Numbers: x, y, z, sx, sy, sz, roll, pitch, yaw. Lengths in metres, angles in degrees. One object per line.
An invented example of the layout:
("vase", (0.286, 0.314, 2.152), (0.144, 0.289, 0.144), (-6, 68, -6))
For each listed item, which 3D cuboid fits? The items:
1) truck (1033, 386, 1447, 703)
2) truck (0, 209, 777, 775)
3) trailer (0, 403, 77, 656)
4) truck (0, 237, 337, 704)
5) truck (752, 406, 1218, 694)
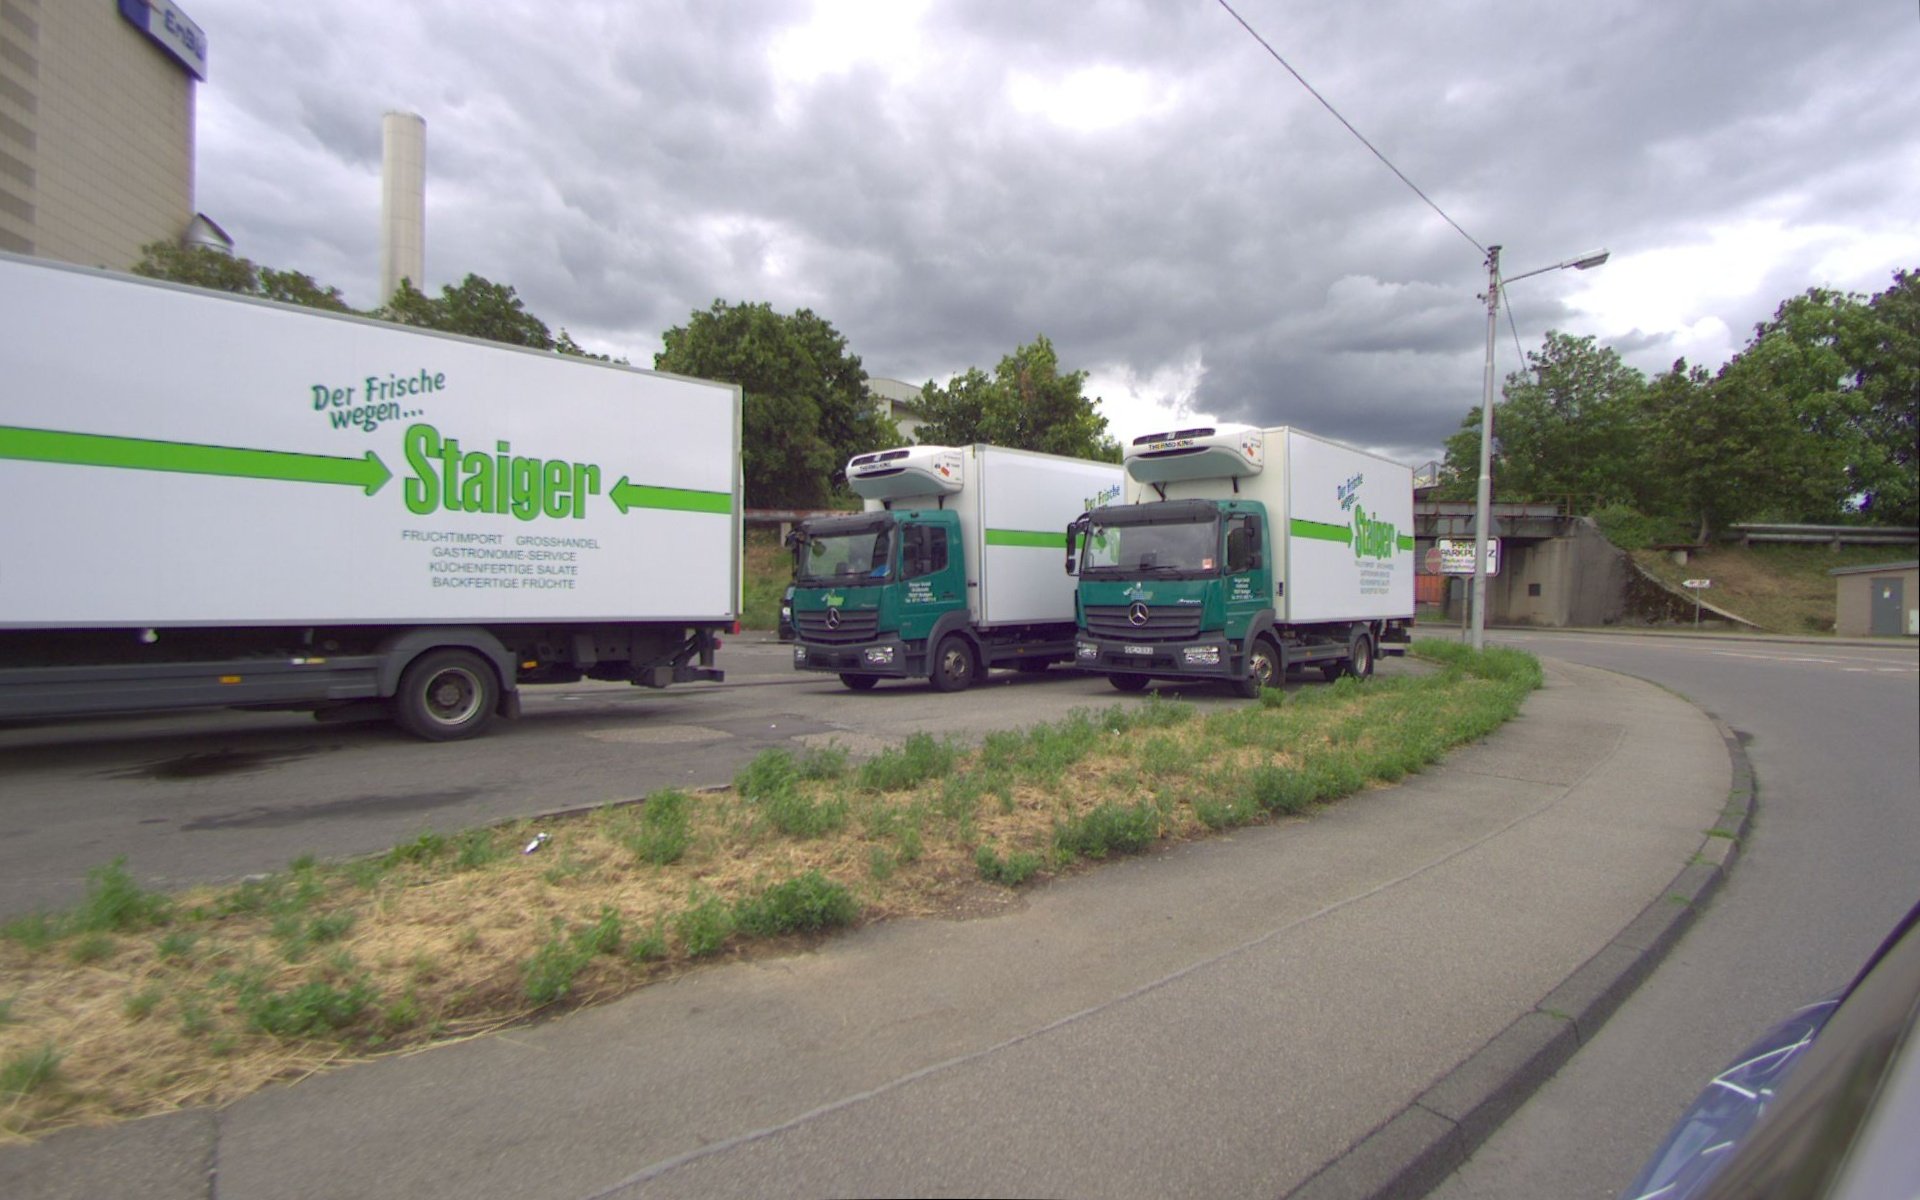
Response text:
("truck", (4.882, -0.700, 16.019), (3.059, 3.677, 8.480), (0, 0, 40))
("truck", (-6.724, -0.731, 8.900), (2.979, 3.880, 10.265), (-1, -1, 45))
("trailer", (-19.691, -1.205, 12.446), (3.044, 4.027, 12.937), (1, 0, 35))
("truck", (-11.849, -1.209, 8.952), (2.976, 4.489, 10.401), (-1, 0, 41))
("truck", (0.904, -0.640, 17.128), (3.060, 3.678, 8.476), (-3, -1, 42))
